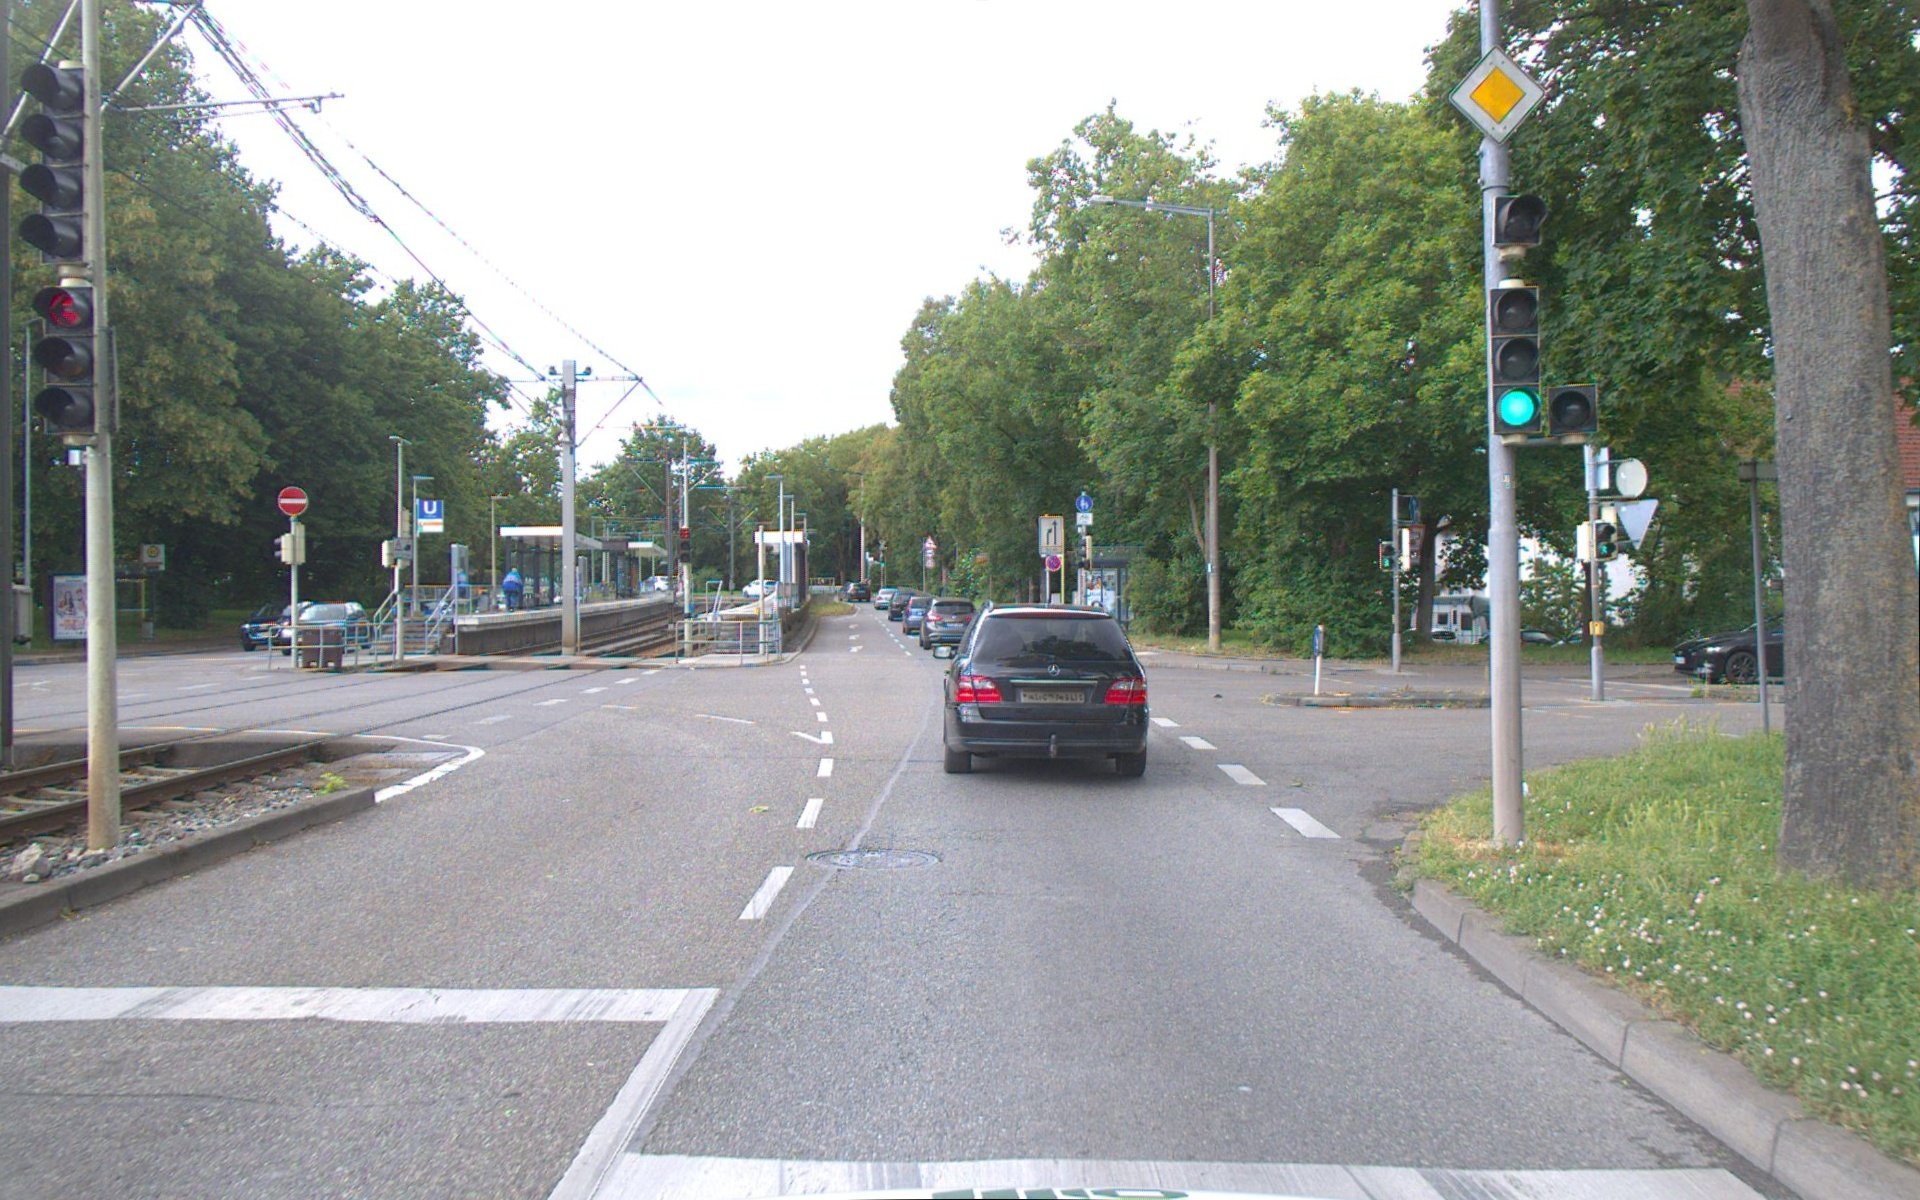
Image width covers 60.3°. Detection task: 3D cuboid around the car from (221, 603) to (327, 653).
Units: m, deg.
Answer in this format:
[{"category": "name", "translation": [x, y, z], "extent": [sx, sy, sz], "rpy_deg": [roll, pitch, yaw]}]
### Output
[{"category": "car", "translation": [-22.947, 0.935, 55.500], "extent": [1.955, 1.508, 4.501], "rpy_deg": [-3, -1, -5]}]

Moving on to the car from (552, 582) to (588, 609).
[{"category": "car", "translation": [-26.750, -0.292, 113.487], "extent": [1.676, 1.782, 4.395], "rpy_deg": [-1, -1, -4]}]

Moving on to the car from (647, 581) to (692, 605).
[{"category": "car", "translation": [-25.933, -0.591, 147.648], "extent": [3.933, 2.049, 1.986], "rpy_deg": [1, -1, 45]}]

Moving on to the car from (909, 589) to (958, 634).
[{"category": "car", "translation": [-1.003, 0.470, 65.224], "extent": [1.745, 1.677, 4.000], "rpy_deg": [2, -1, 1]}]

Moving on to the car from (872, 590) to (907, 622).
[{"category": "car", "translation": [-4.492, 0.382, 104.773], "extent": [1.955, 1.926, 3.995], "rpy_deg": [2, -1, -5]}]

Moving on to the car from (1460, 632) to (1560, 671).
[{"category": "car", "translation": [19.838, 1.852, 59.775], "extent": [1.594, 1.268, 3.842], "rpy_deg": [2, -1, -15]}]

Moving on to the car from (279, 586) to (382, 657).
[{"category": "car", "translation": [-18.046, 0.620, 47.548], "extent": [1.664, 1.893, 3.996], "rpy_deg": [2, -1, -5]}]

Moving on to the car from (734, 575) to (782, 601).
[{"category": "car", "translation": [-16.986, -1.017, 139.087], "extent": [1.985, 2.049, 3.934], "rpy_deg": [3, -1, -45]}]

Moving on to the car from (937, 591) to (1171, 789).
[{"category": "car", "translation": [0.739, 0.723, 15.365], "extent": [1.746, 1.552, 3.998], "rpy_deg": [2, 0, -2]}]

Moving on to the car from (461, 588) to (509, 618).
[{"category": "car", "translation": [-25.360, 0.184, 88.455], "extent": [1.653, 1.471, 3.995], "rpy_deg": [-3, 0, -5]}]

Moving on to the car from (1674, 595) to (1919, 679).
[{"category": "car", "translation": [16.378, 0.716, 32.367], "extent": [4.065, 1.553, 1.705], "rpy_deg": [-1, -1, 4]}]

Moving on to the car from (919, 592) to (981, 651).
[{"category": "car", "translation": [-0.264, 0.660, 50.317], "extent": [1.745, 1.677, 4.000], "rpy_deg": [2, -1, 1]}]

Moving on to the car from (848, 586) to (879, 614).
[{"category": "car", "translation": [-7.239, 0.053, 123.887], "extent": [1.956, 2.001, 3.992], "rpy_deg": [2, -1, -8]}]

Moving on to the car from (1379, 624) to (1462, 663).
[{"category": "car", "translation": [18.293, 1.712, 65.840], "extent": [1.453, 1.410, 3.825], "rpy_deg": [2, -1, -14]}]

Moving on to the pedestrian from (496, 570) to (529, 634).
[{"category": "pedestrian", "translation": [-15.579, 0.074, 57.594], "extent": [0.950, 2.224, 0.975], "rpy_deg": [0, 0, -3]}]

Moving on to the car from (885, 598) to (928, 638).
[{"category": "car", "translation": [-2.742, 0.912, 83.862], "extent": [1.955, 1.952, 3.995], "rpy_deg": [2, -1, -5]}]
